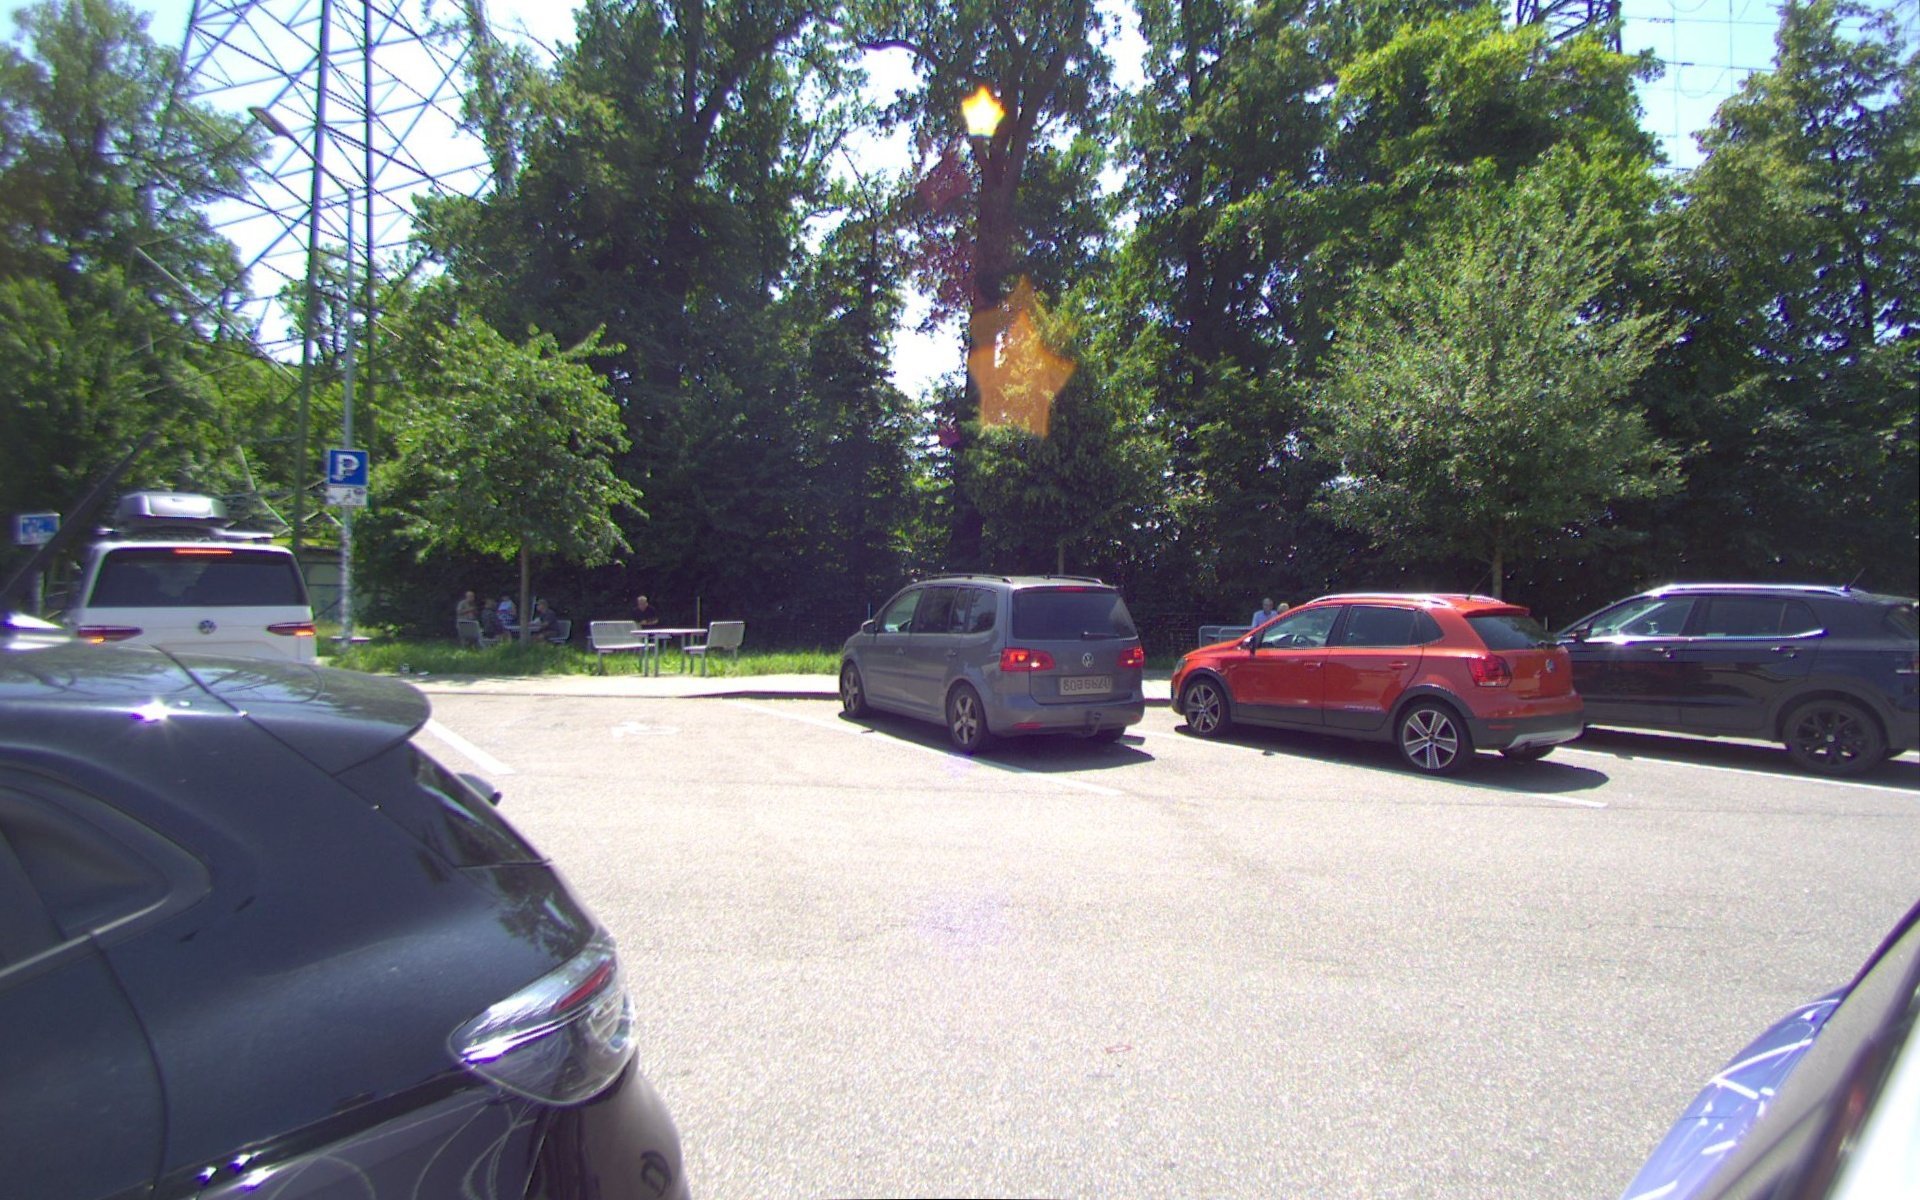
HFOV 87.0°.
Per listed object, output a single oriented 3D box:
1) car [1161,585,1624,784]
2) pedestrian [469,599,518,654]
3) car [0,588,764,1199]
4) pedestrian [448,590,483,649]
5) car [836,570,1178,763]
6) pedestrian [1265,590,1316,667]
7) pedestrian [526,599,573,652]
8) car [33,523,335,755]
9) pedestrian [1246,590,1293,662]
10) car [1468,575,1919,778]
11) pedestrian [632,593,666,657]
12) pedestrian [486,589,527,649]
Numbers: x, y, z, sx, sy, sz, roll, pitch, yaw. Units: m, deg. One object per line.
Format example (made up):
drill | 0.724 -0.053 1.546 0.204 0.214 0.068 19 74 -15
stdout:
car | 3.866 0.608 9.663 1.687 1.484 3.793 0 1 -32
pedestrian | -10.504 0.587 22.786 0.873 1.192 0.668 0 0 -41
car | -2.190 0.719 0.614 1.737 1.501 3.757 0 0 44
pedestrian | -12.100 0.462 24.759 0.657 1.422 0.649 0 0 -39
car | 0.266 0.515 10.533 1.713 1.601 3.996 0 1 -29
pedestrian | 5.794 0.484 17.787 0.657 1.311 0.783 0 0 3
pedestrian | -9.589 0.574 23.640 0.873 1.192 0.668 0 0 -41
car | -8.344 0.284 10.707 4.549 1.936 1.882 1 1 44
pedestrian | 5.798 0.473 18.979 0.657 1.311 0.783 0 0 3
car | 7.193 0.572 9.723 1.690 1.593 3.787 0 1 -39
pedestrian | -6.532 0.519 21.296 0.655 1.311 0.786 0 0 -16
pedestrian | -11.005 0.458 24.555 0.664 1.422 0.643 0 0 32
